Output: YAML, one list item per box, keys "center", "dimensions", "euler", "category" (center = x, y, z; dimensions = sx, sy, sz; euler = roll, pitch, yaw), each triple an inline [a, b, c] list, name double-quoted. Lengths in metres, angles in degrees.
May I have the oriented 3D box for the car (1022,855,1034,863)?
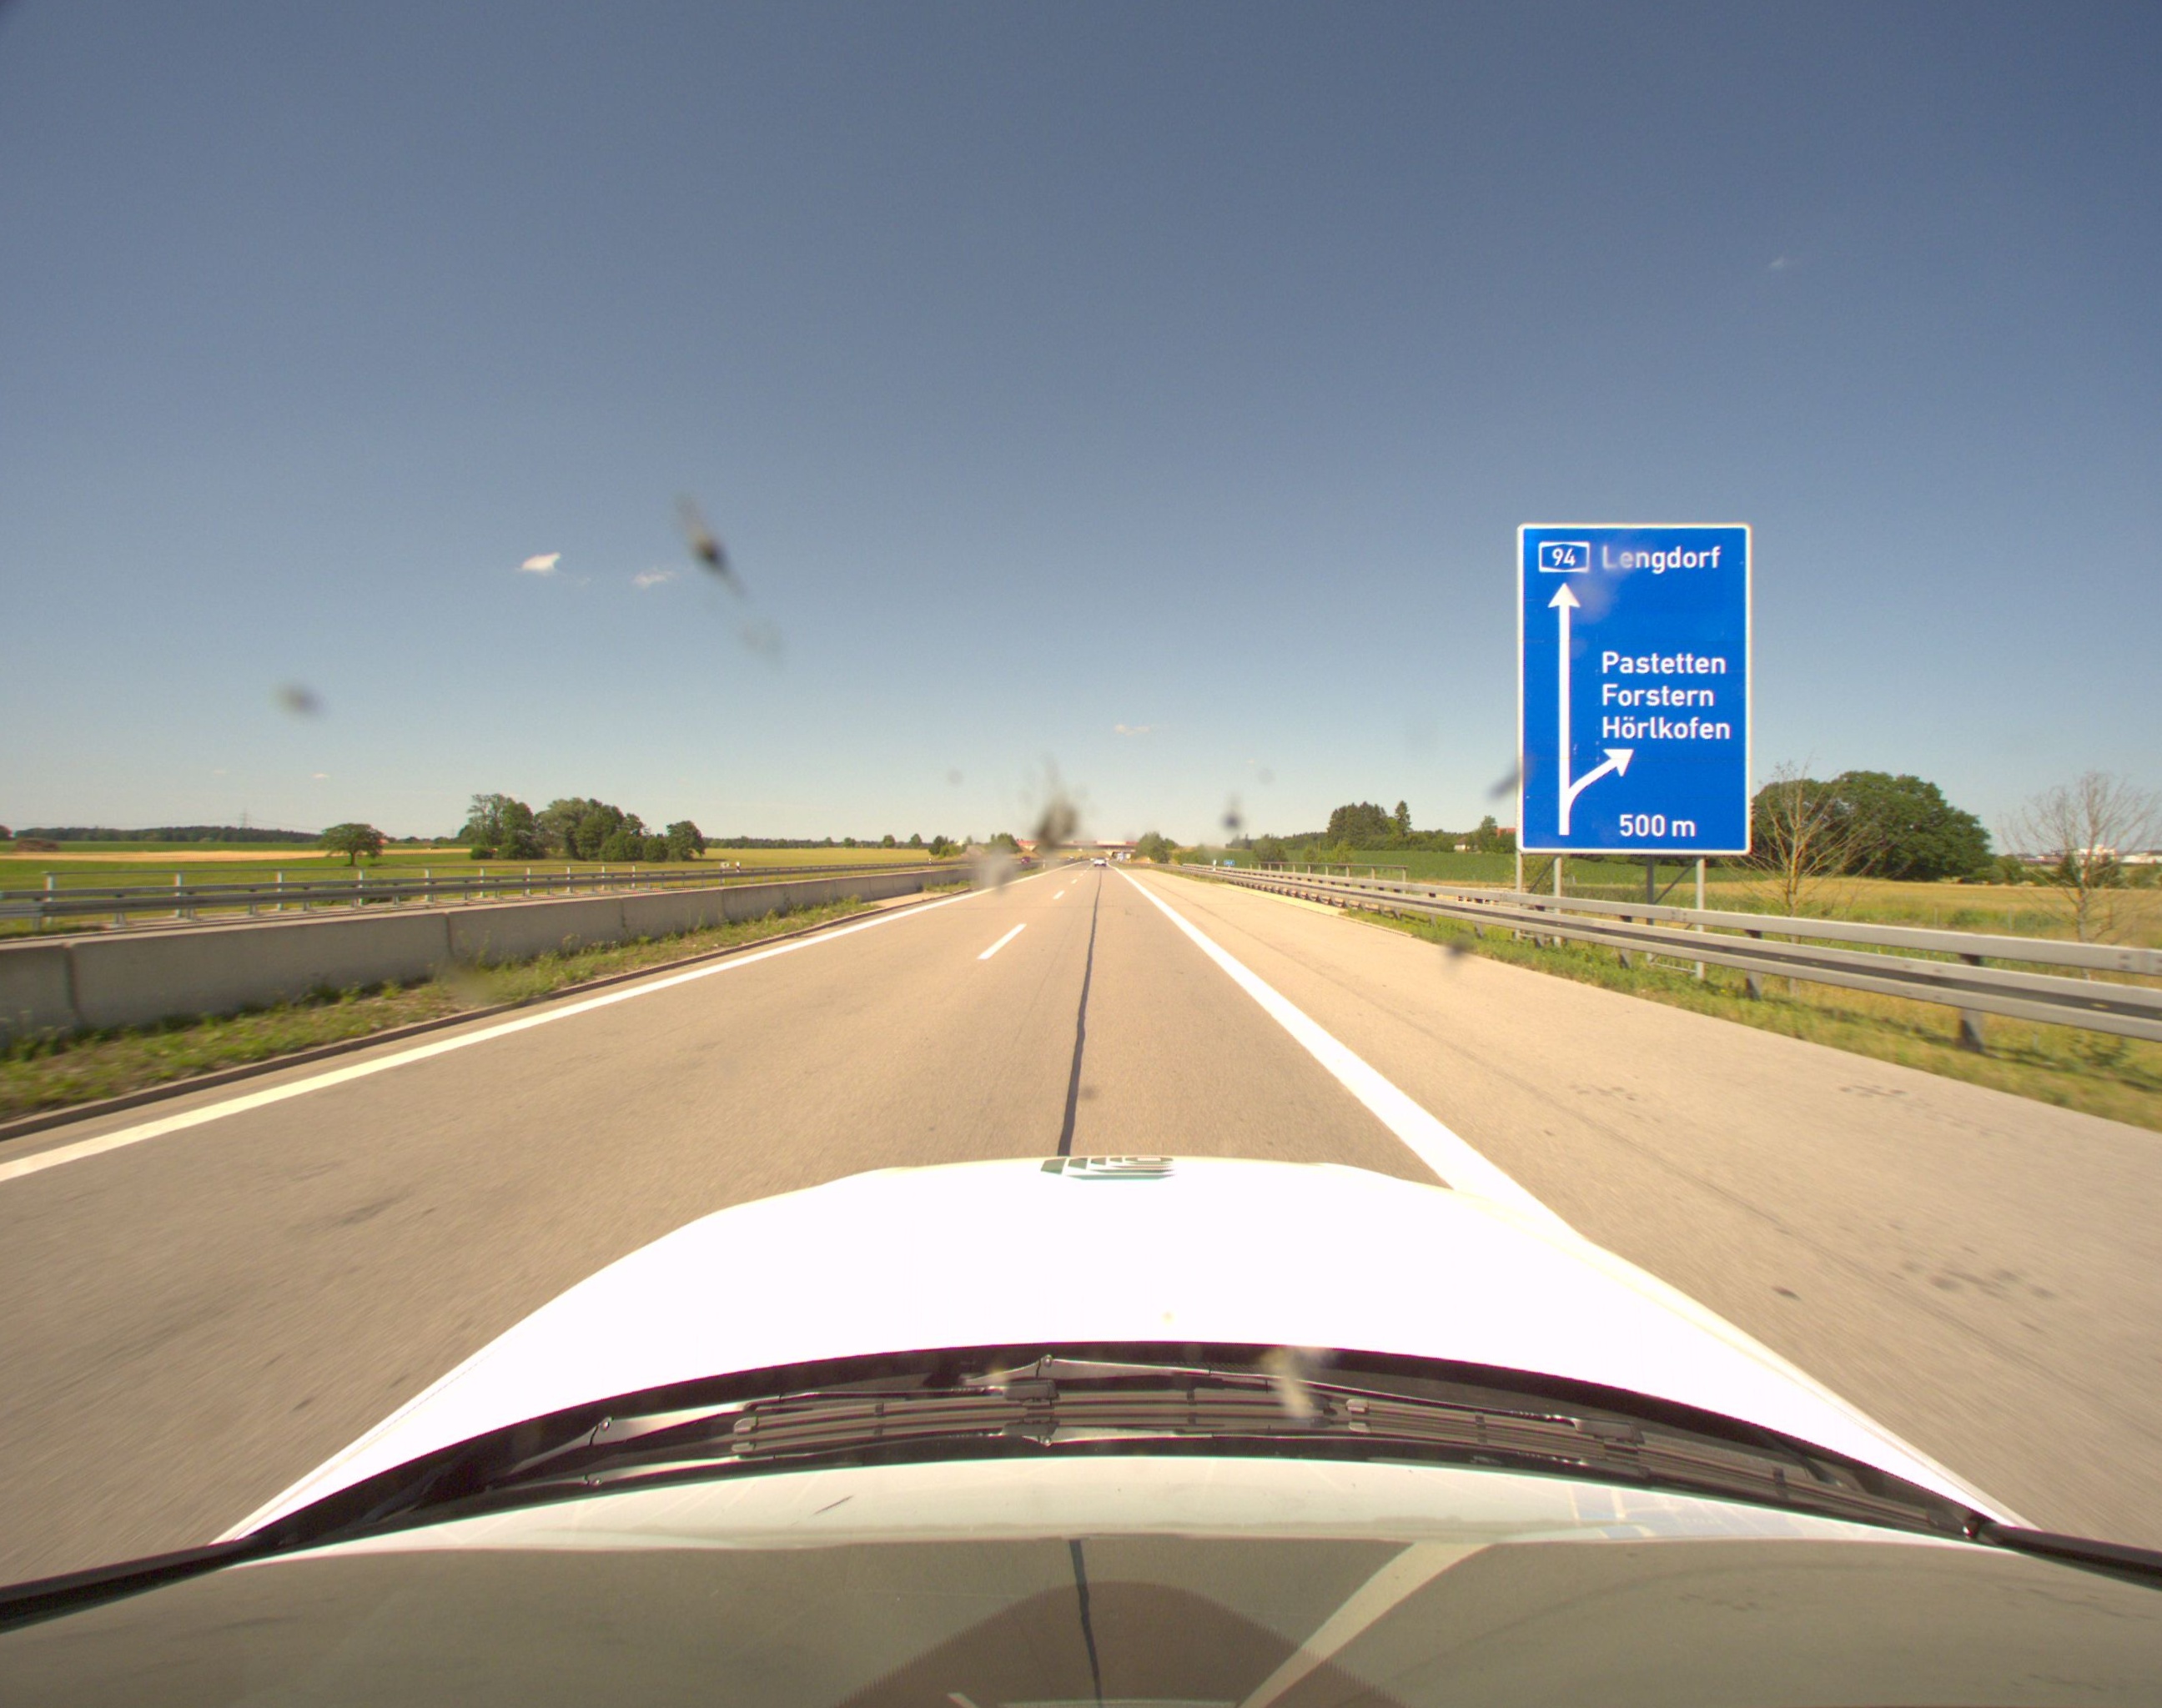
- center: [-10.215, 0.977, 156.736]
  dimensions: [1.891, 1.523, 4.807]
  euler: [-2, 0, 1]
  category: "car"

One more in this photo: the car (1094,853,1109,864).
- center: [3.225, 0.750, 128.550]
  dimensions: [1.988, 1.731, 4.865]
  euler: [0, 0, -2]
  category: "car"
